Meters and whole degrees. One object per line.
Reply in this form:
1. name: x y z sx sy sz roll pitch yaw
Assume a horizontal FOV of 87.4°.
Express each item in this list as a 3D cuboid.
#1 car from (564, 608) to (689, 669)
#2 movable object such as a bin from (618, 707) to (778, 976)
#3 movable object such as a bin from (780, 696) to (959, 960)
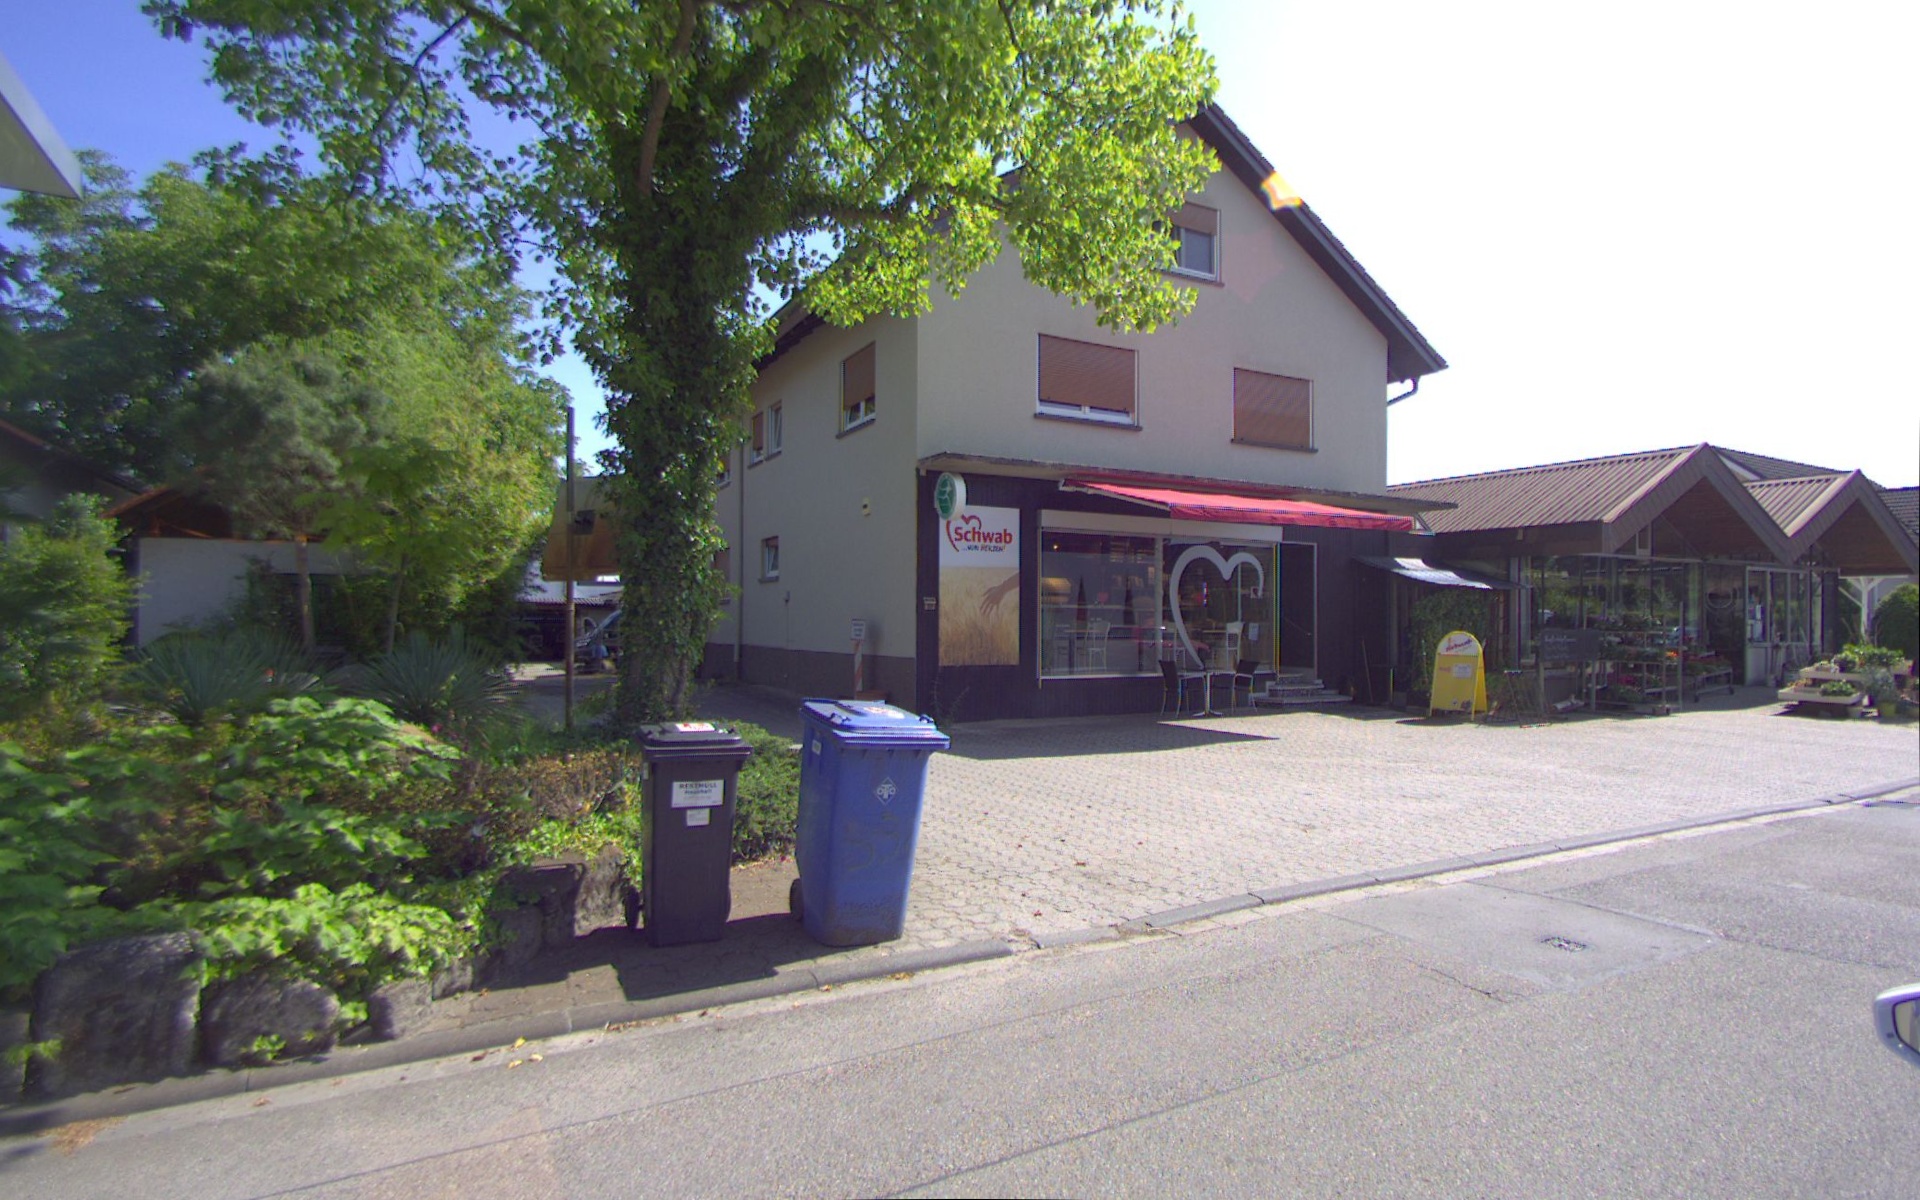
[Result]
1. car: -13.882 1.586 41.871 4.596 2.441 2.177 1 -2 -31
2. movable object such as a bin: -1.197 1.043 4.552 0.561 1.038 0.580 1 0 -29
3. movable object such as a bin: -0.453 1.042 4.855 0.605 1.068 0.727 1 0 -29
